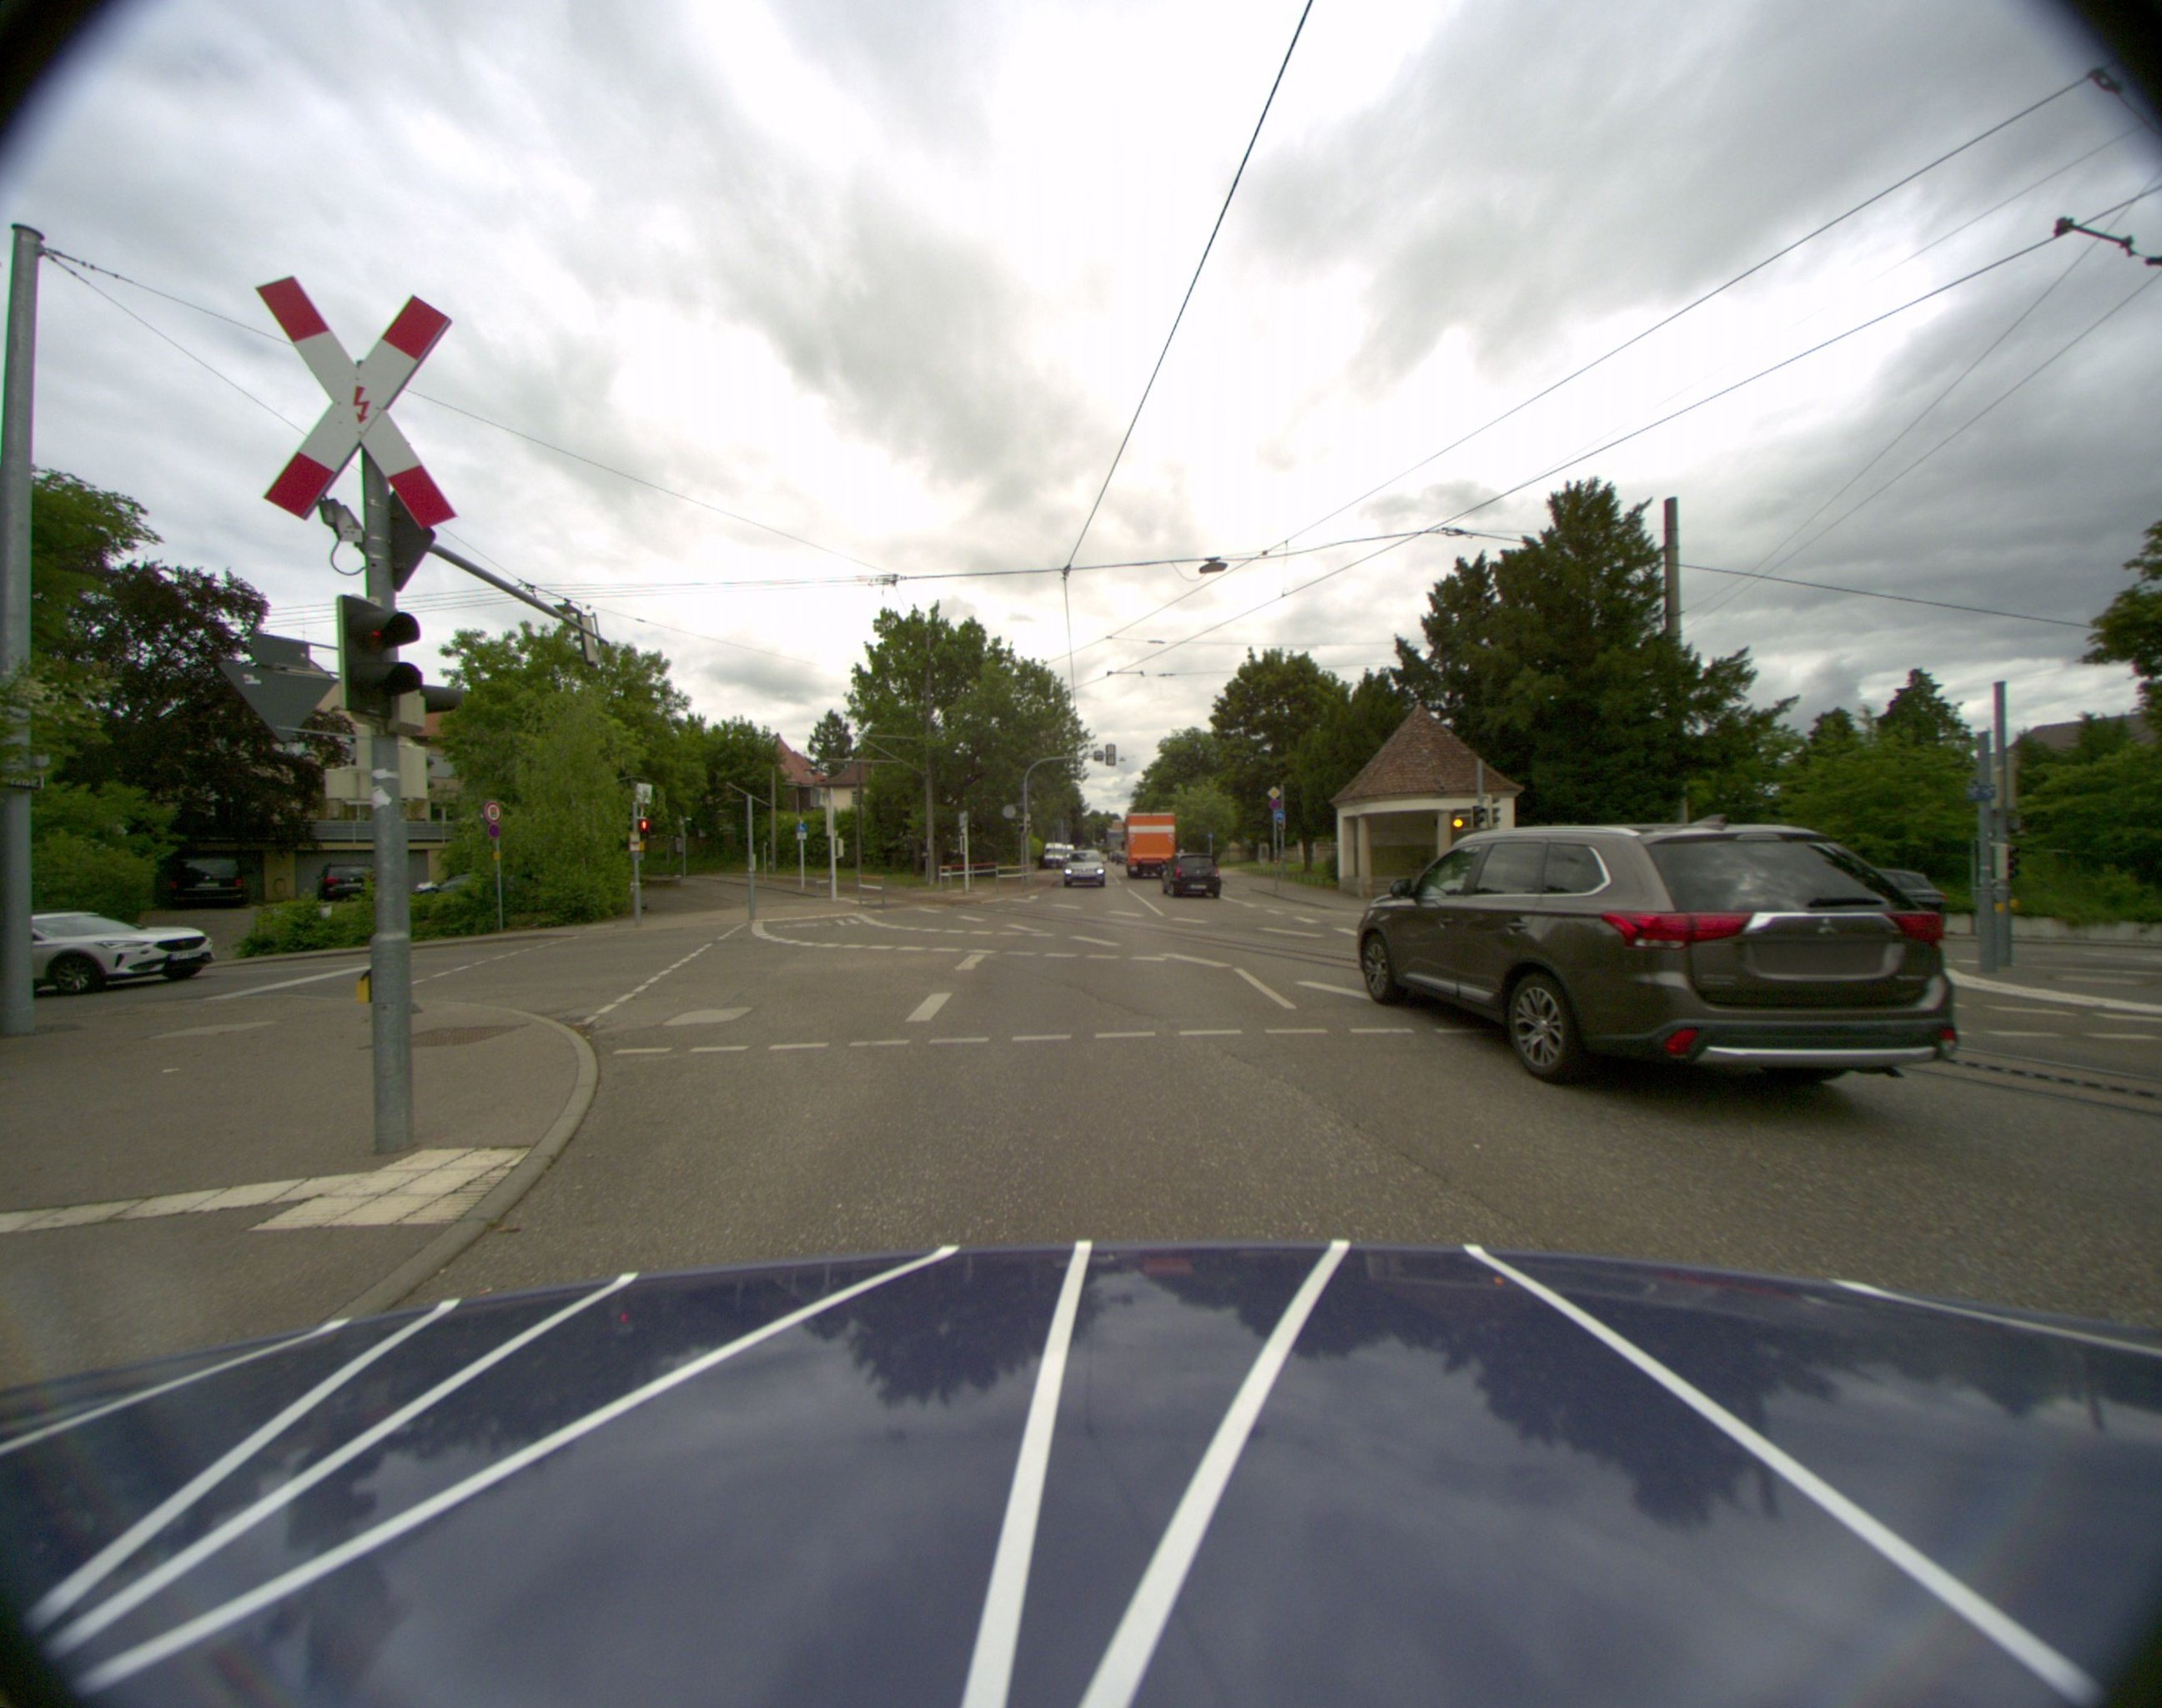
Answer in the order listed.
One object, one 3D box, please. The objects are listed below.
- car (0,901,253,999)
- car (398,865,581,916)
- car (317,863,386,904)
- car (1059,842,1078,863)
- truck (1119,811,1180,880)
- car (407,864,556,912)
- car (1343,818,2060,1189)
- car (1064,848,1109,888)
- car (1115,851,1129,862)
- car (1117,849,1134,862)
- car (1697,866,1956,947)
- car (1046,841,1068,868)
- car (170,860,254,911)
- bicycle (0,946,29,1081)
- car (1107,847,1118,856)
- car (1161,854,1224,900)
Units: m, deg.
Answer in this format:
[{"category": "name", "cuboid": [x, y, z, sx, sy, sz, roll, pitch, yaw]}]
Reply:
[{"category": "car", "cuboid": [-18.734, 1.751, 13.910, 4.519, 1.455, 1.998, -2, 1, -9]}, {"category": "car", "cuboid": [-19.929, 1.205, 25.779, 4.517, 1.455, 1.999, -2, 1, -4]}, {"category": "car", "cuboid": [-31.044, 1.220, 32.389, 2.004, 1.587, 3.989, -2, 1, -43]}, {"category": "car", "cuboid": [-1.509, -0.201, 93.833, 2.046, 2.588, 5.966, 0, 1, 1]}, {"category": "truck", "cuboid": [3.965, -0.512, 45.623, 2.776, 3.697, 8.467, 1, 0, 0]}, {"category": "car", "cuboid": [-24.902, 1.363, 31.773, 4.474, 1.857, 1.996, -1, 0, -21]}, {"category": "car", "cuboid": [3.754, 0.704, 5.885, 1.835, 1.660, 4.488, -4, 1, 0]}, {"category": "car", "cuboid": [0.183, 0.591, 35.192, 1.835, 1.610, 4.487, -3, 1, -2]}, {"category": "car", "cuboid": [5.804, 0.331, 108.093, 1.944, 1.522, 4.526, 1, 0, 1]}, {"category": "car", "cuboid": [5.093, 0.196, 86.987, 1.668, 1.440, 3.827, -1, 0, 1]}, {"category": "car", "cuboid": [17.677, 1.223, 18.136, 4.487, 1.660, 1.965, 2, 0, -6]}, {"category": "car", "cuboid": [-2.397, 0.040, 77.021, 2.095, 2.589, 6.680, 0, 0, -1]}, {"category": "car", "cuboid": [-33.765, 1.169, 29.501, 3.989, 1.783, 2.004, -1, 1, 40]}, {"category": "bicycle", "cuboid": [-9.346, 1.329, 5.699, 0.550, 1.132, 1.877, -2, -3, -11]}, {"category": "car", "cuboid": [5.463, -0.431, 131.241, 1.729, 1.454, 4.154, -1, 0, 2]}, {"category": "car", "cuboid": [3.928, 0.768, 27.378, 1.679, 1.497, 3.733, 1, 0, -1]}]
